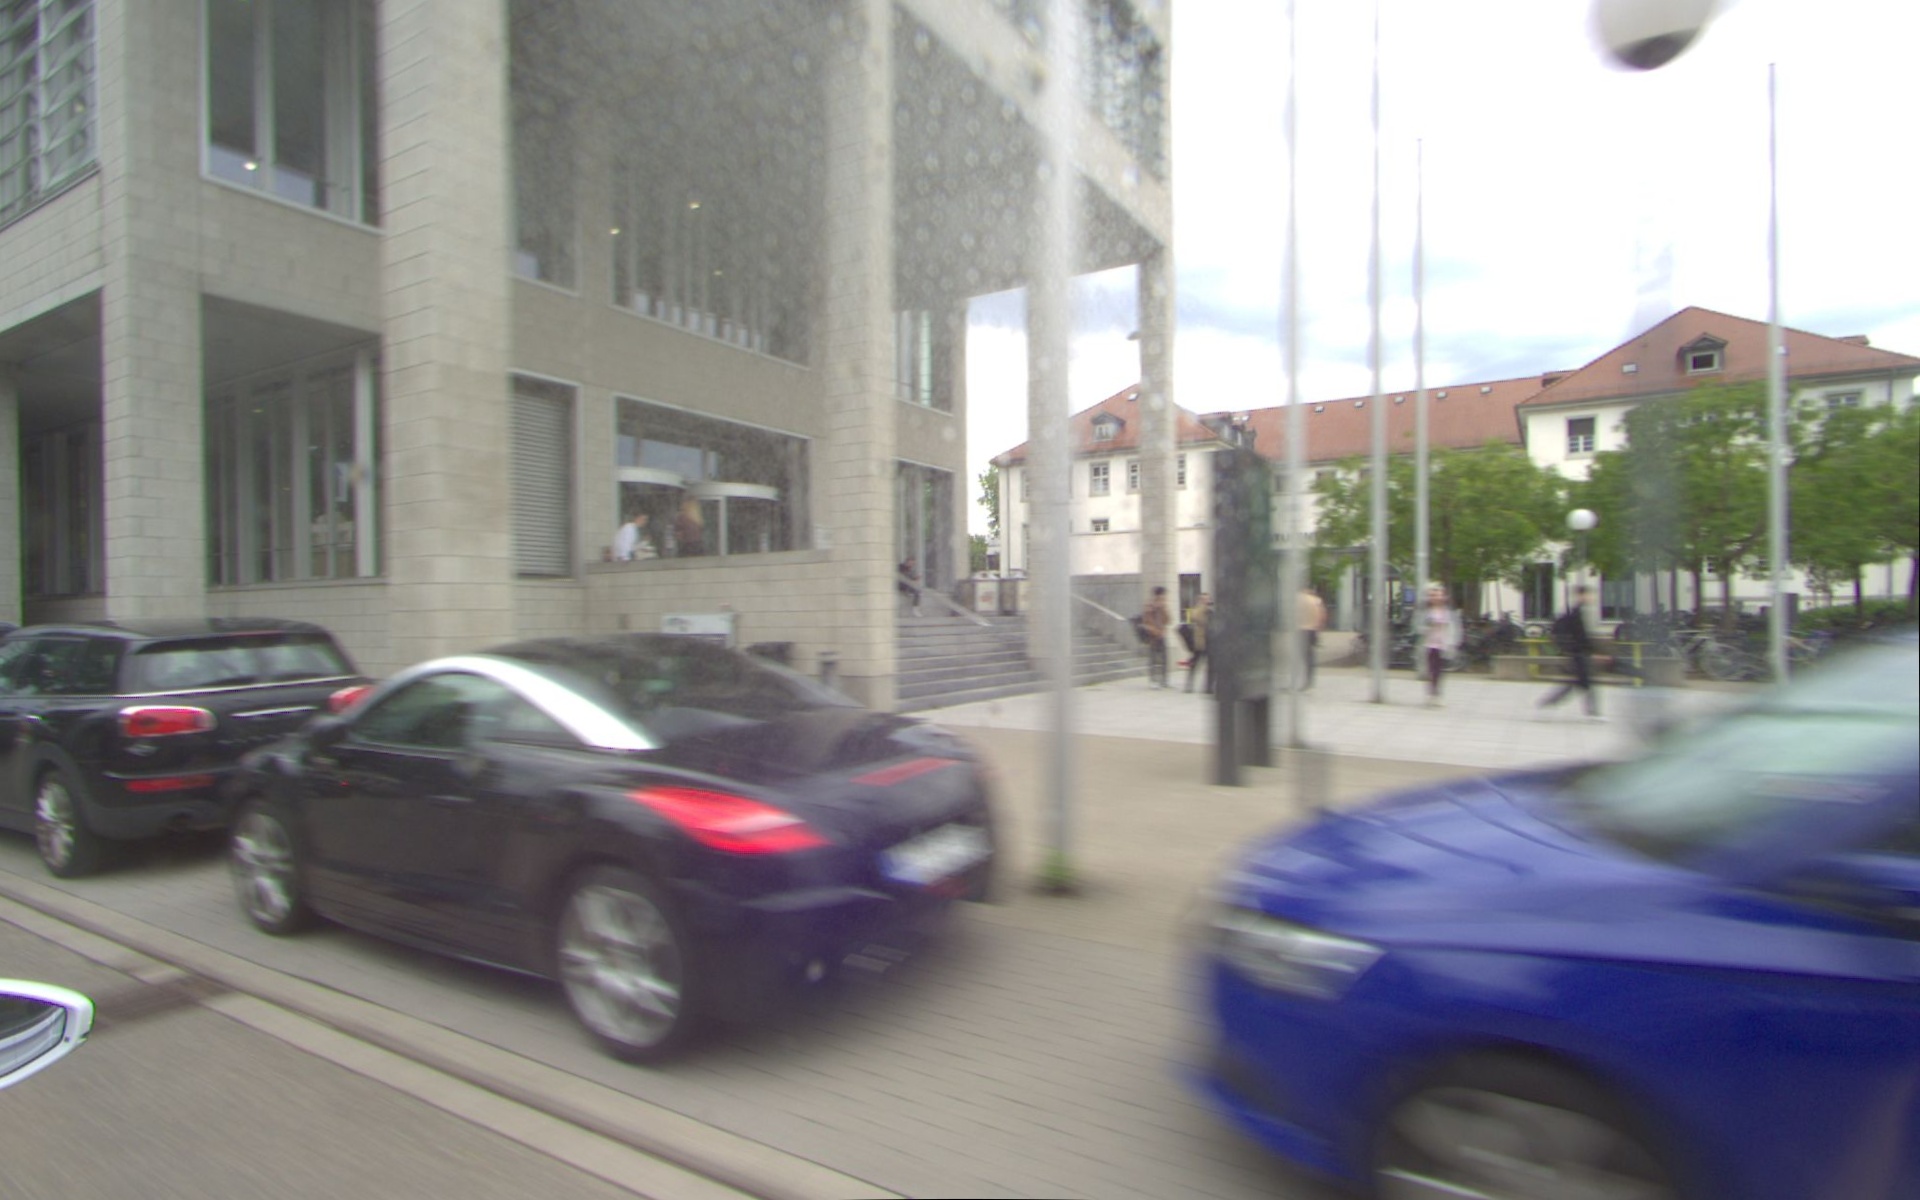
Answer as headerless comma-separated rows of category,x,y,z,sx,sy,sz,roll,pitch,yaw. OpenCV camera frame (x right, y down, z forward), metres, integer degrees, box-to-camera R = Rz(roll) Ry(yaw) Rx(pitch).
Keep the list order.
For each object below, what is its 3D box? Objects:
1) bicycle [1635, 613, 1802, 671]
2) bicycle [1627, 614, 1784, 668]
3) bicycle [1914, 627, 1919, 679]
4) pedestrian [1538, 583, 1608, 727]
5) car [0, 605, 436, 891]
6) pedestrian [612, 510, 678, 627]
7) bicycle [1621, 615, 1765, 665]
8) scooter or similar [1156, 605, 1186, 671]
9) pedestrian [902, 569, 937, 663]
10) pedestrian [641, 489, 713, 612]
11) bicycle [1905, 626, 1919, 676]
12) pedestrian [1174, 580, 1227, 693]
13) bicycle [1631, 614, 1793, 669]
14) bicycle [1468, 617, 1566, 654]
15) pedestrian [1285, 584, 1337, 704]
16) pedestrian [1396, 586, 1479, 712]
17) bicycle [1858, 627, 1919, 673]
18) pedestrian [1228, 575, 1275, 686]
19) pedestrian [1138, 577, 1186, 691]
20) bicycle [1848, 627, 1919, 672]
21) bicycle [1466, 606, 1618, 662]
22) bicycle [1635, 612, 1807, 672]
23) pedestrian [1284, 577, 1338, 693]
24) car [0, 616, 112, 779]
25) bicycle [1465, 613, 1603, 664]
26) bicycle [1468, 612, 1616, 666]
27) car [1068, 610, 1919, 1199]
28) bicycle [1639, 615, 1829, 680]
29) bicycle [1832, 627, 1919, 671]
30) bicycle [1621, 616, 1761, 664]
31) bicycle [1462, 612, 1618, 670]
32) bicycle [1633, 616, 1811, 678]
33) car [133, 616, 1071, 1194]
bicycle,17.800,0.960,23.624,3.063,1.185,0.744,2,0,34
bicycle,18.514,1.001,25.001,3.063,1.185,0.744,2,0,34
bicycle,23.420,1.264,22.277,3.063,1.185,0.744,2,0,34
pedestrian,7.492,0.652,12.240,0.695,1.691,0.753,0,0,33
car,-5.963,0.809,7.182,4.453,1.463,1.814,-1,1,31
pedestrian,-4.703,-0.450,14.943,0.625,1.680,0.799,2,0,-42
bicycle,19.769,1.069,27.120,3.062,1.185,0.744,2,0,33
scooter or similar,4.607,0.816,21.923,0.397,1.387,1.492,2,0,4
pedestrian,-0.892,0.352,22.169,0.531,2.040,0.595,0,0,31
pedestrian,-4.039,-0.682,14.299,0.796,1.680,0.627,2,0,-34
bicycle,24.111,1.257,23.214,3.063,1.185,0.744,2,0,34
pedestrian,3.852,0.585,16.011,0.595,1.737,0.775,-1,-2,32
bicycle,18.160,0.980,24.302,3.064,1.185,0.744,2,0,34
bicycle,20.415,1.287,36.762,3.063,1.185,0.744,2,0,34
pedestrian,5.420,0.668,15.503,0.724,1.808,0.763,0,0,18
pedestrian,6.632,0.664,13.896,0.918,1.662,0.733,2,0,32
bicycle,26.267,1.375,26.909,3.063,1.185,0.744,2,0,34
pedestrian,4.903,0.510,16.835,0.724,1.808,0.720,0,0,18
pedestrian,3.386,0.563,16.740,0.611,1.865,0.589,0,0,33
bicycle,26.889,1.409,27.924,3.063,1.185,0.744,2,0,34
bicycle,13.861,0.799,23.938,3.064,1.185,0.744,2,0,34
bicycle,17.361,0.937,22.981,3.063,1.185,0.744,2,0,34
pedestrian,5.887,0.575,16.839,0.592,1.889,0.779,-1,0,-1
car,-10.860,0.929,10.199,4.852,1.471,1.990,-1,-1,32
bicycle,15.044,0.981,26.307,3.063,1.185,0.744,2,0,34
bicycle,14.257,0.934,24.611,3.063,1.185,0.744,2,0,34
car,2.551,0.745,2.085,4.309,1.430,1.693,-1,0,28
bicycle,16.100,0.970,20.974,3.063,1.185,0.619,2,0,34
bicycle,27.802,1.459,29.509,3.063,1.185,0.744,2,0,34
bicycle,20.194,1.092,27.769,3.062,1.185,0.744,2,0,33
bicycle,13.431,0.923,23.279,3.063,1.185,0.744,2,0,34
bicycle,16.822,1.010,22.238,3.063,1.185,0.744,2,0,34
car,-1.858,0.853,4.658,4.355,1.461,1.844,1,0,33
